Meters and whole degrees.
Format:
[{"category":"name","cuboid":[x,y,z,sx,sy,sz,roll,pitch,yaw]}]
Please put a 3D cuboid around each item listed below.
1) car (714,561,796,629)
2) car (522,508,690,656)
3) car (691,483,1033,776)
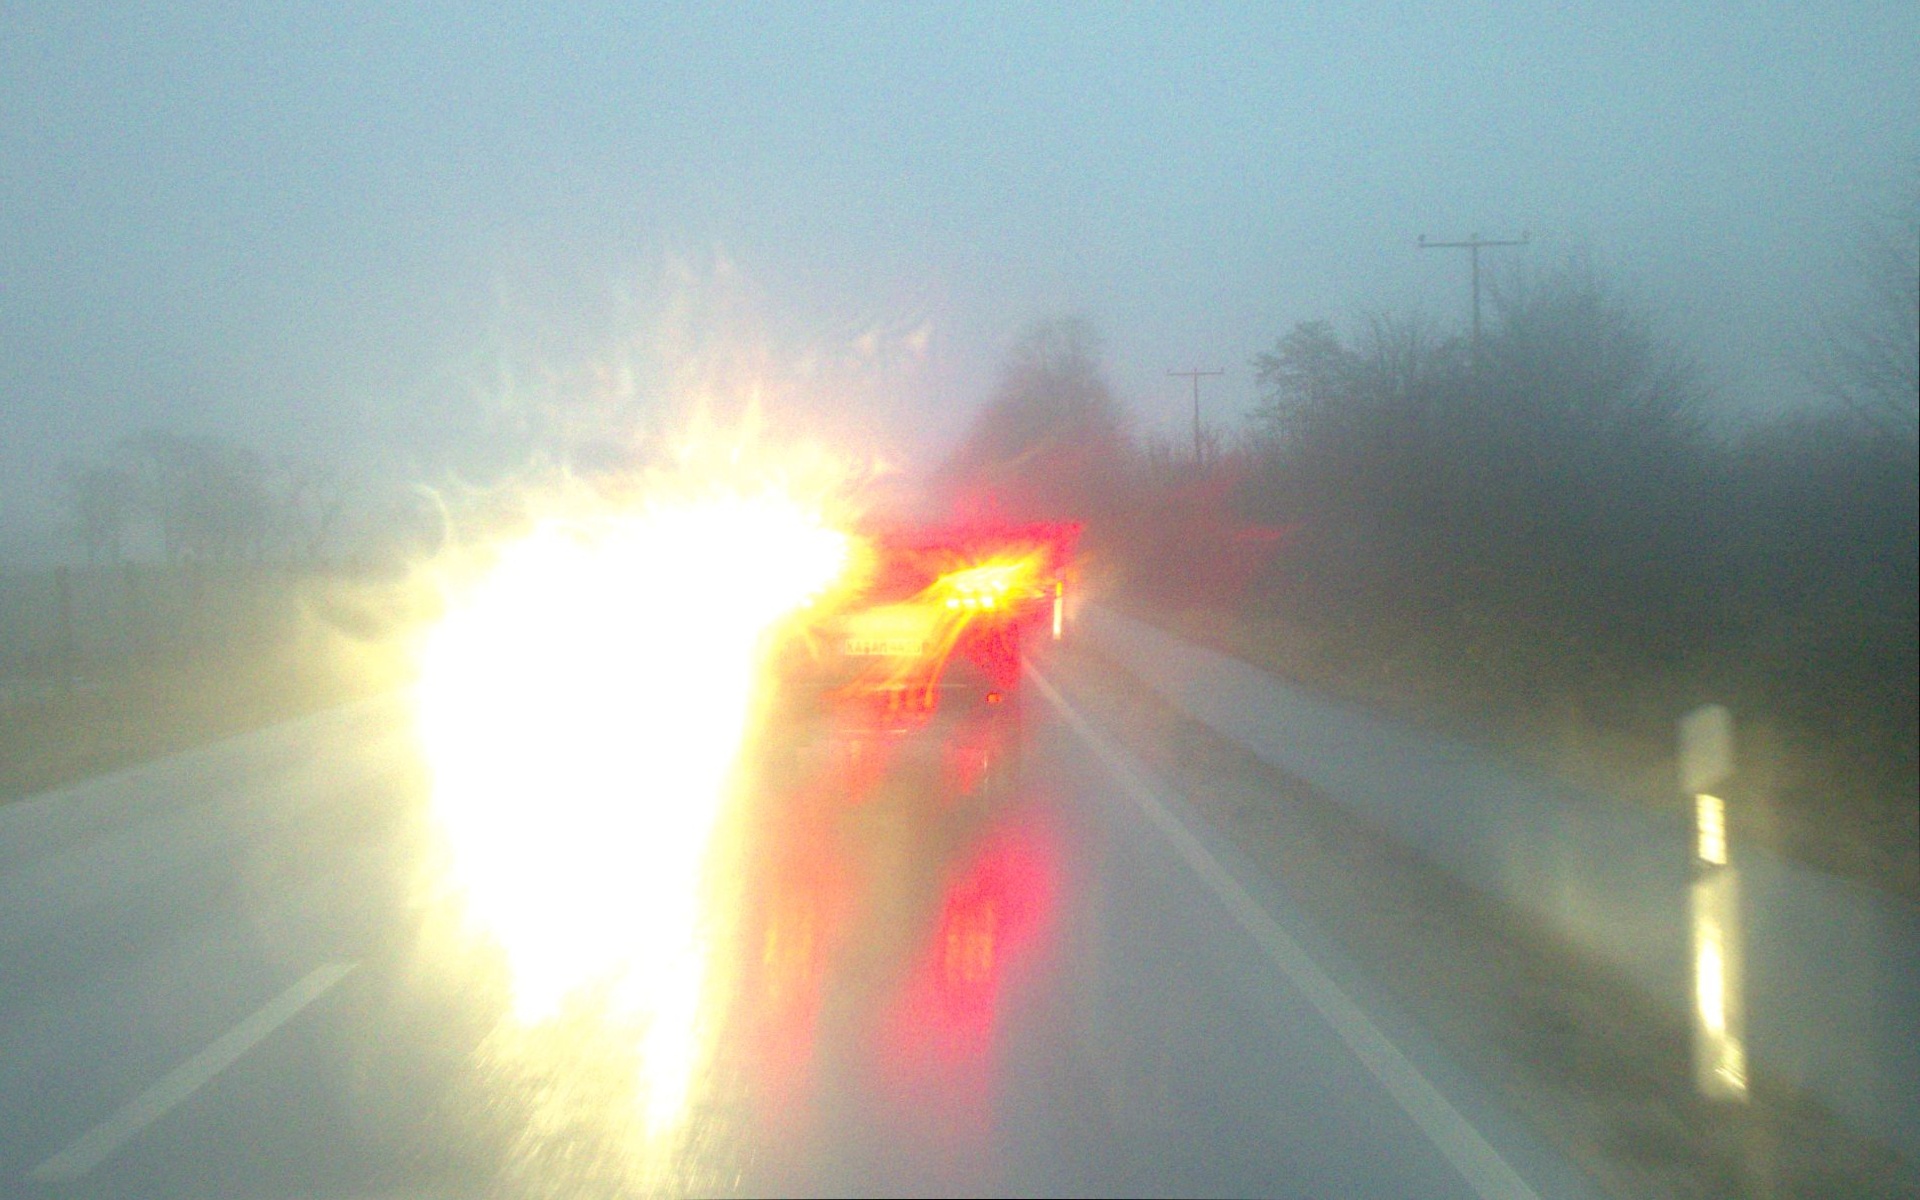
[{"category":"car","cuboid":[-4.794,-0.126,80.925,1.688,1.474,3.774,-2,1,0]},{"category":"car","cuboid":[-4.663,-0.278,45.815,1.824,1.800,4.495,-2,1,-2]},{"category":"car","cuboid":[-0.631,0.128,23.839,2.120,1.813,4.980,0,1,-1]}]
